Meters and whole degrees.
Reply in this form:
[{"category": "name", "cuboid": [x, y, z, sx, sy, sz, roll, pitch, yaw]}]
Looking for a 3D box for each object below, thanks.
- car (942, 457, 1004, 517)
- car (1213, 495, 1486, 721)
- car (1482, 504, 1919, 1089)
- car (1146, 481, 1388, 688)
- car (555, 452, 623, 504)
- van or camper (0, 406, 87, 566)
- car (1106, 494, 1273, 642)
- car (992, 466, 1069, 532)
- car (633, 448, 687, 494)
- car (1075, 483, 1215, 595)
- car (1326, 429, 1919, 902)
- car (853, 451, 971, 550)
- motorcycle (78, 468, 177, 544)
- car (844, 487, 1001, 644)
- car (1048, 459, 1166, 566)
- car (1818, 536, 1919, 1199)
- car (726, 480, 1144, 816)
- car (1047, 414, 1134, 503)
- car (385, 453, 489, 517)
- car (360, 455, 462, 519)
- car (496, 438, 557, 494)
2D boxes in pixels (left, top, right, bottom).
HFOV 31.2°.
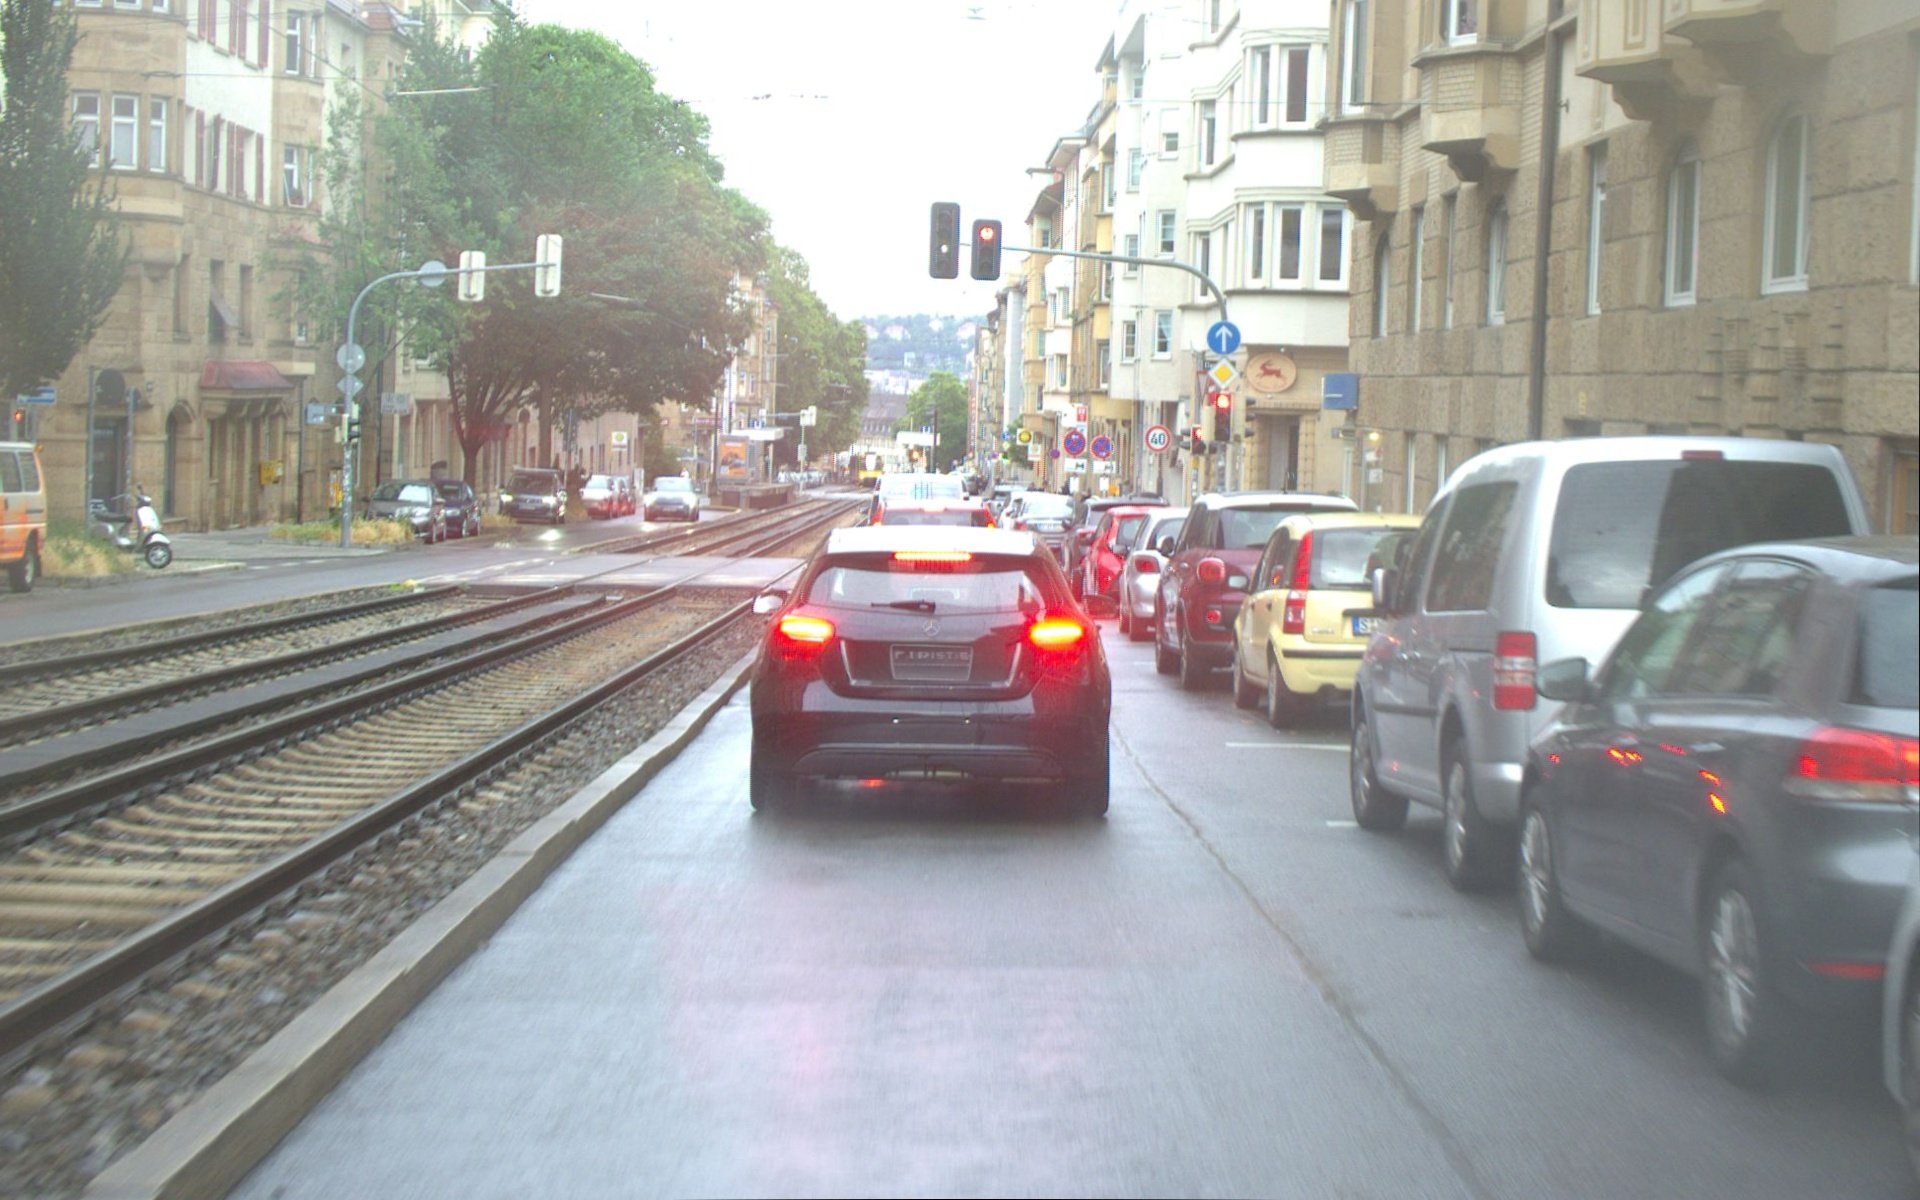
[{"category": "car", "cuboid": [0.400, -3.512, 107.143, 1.852, 1.791, 3.812, 1, 1, 0]}, {"category": "car", "cuboid": [2.805, 0.000, 25.367, 1.559, 1.473, 3.461, 2, 2, 0]}, {"category": "car", "cuboid": [2.946, 0.442, 10.466, 1.993, 1.436, 4.001, 1, 2, -1]}, {"category": "car", "cuboid": [2.607, -0.195, 29.991, 1.710, 1.623, 4.000, 2, 2, 0]}, {"category": "car", "cuboid": [-13.520, -4.456, 125.564, 1.993, 1.787, 4.001, 2, 2, 0]}, {"category": "van or camper", "cuboid": [-12.634, -1.338, 43.323, 1.993, 1.894, 4.700, -7, 2, -2]}, {"category": "car", "cuboid": [2.594, -0.405, 39.555, 1.638, 1.537, 3.466, 2, 2, 0]}, {"category": "car", "cuboid": [1.949, -2.800, 95.863, 1.768, 1.769, 4.001, 1, 1, -4]}, {"category": "car", "cuboid": [-10.584, -4.547, 121.473, 1.795, 1.543, 4.001, 1, 2, -4]}, {"category": "car", "cuboid": [2.487, -0.857, 46.773, 1.602, 1.414, 3.149, 2, 2, -2]}, {"category": "car", "cuboid": [2.766, 0.169, 15.232, 1.774, 1.770, 4.361, 1, 2, 0]}, {"category": "car", "cuboid": [-0.884, -1.797, 61.313, 1.921, 1.649, 4.001, 2, 2, -3]}, {"category": "motorcycle", "cuboid": [-13.040, -1.466, 53.827, 1.439, 1.130, 0.619, 3, 2, 29]}, {"category": "car", "cuboid": [-0.379, -0.415, 36.698, 1.536, 1.505, 4.001, 2, 2, 0]}, {"category": "car", "cuboid": [2.188, -1.347, 52.067, 1.549, 1.503, 4.001, 2, 2, 0]}, {"category": "car", "cuboid": [2.885, 0.665, 6.057, 1.676, 1.406, 4.001, 1, 3, -1]}, {"category": "car", "cuboid": [-0.165, 0.186, 18.061, 1.946, 1.559, 3.643, 1, 1, -2]}, {"category": "car", "cuboid": [3.144, -3.409, 83.509, 1.898, 2.021, 4.176, 1, 1, 0]}, {"category": "car", "cuboid": [-13.269, -2.929, 87.386, 1.993, 1.512, 4.001, 2, 2, 0]}, {"category": "car", "cuboid": [-13.080, -2.692, 82.067, 1.771, 1.459, 4.000, 1, 1, 0]}, {"category": "car", "cuboid": [-13.639, -4.210, 108.310, 1.789, 1.685, 4.001, 2, 2, -6]}]
